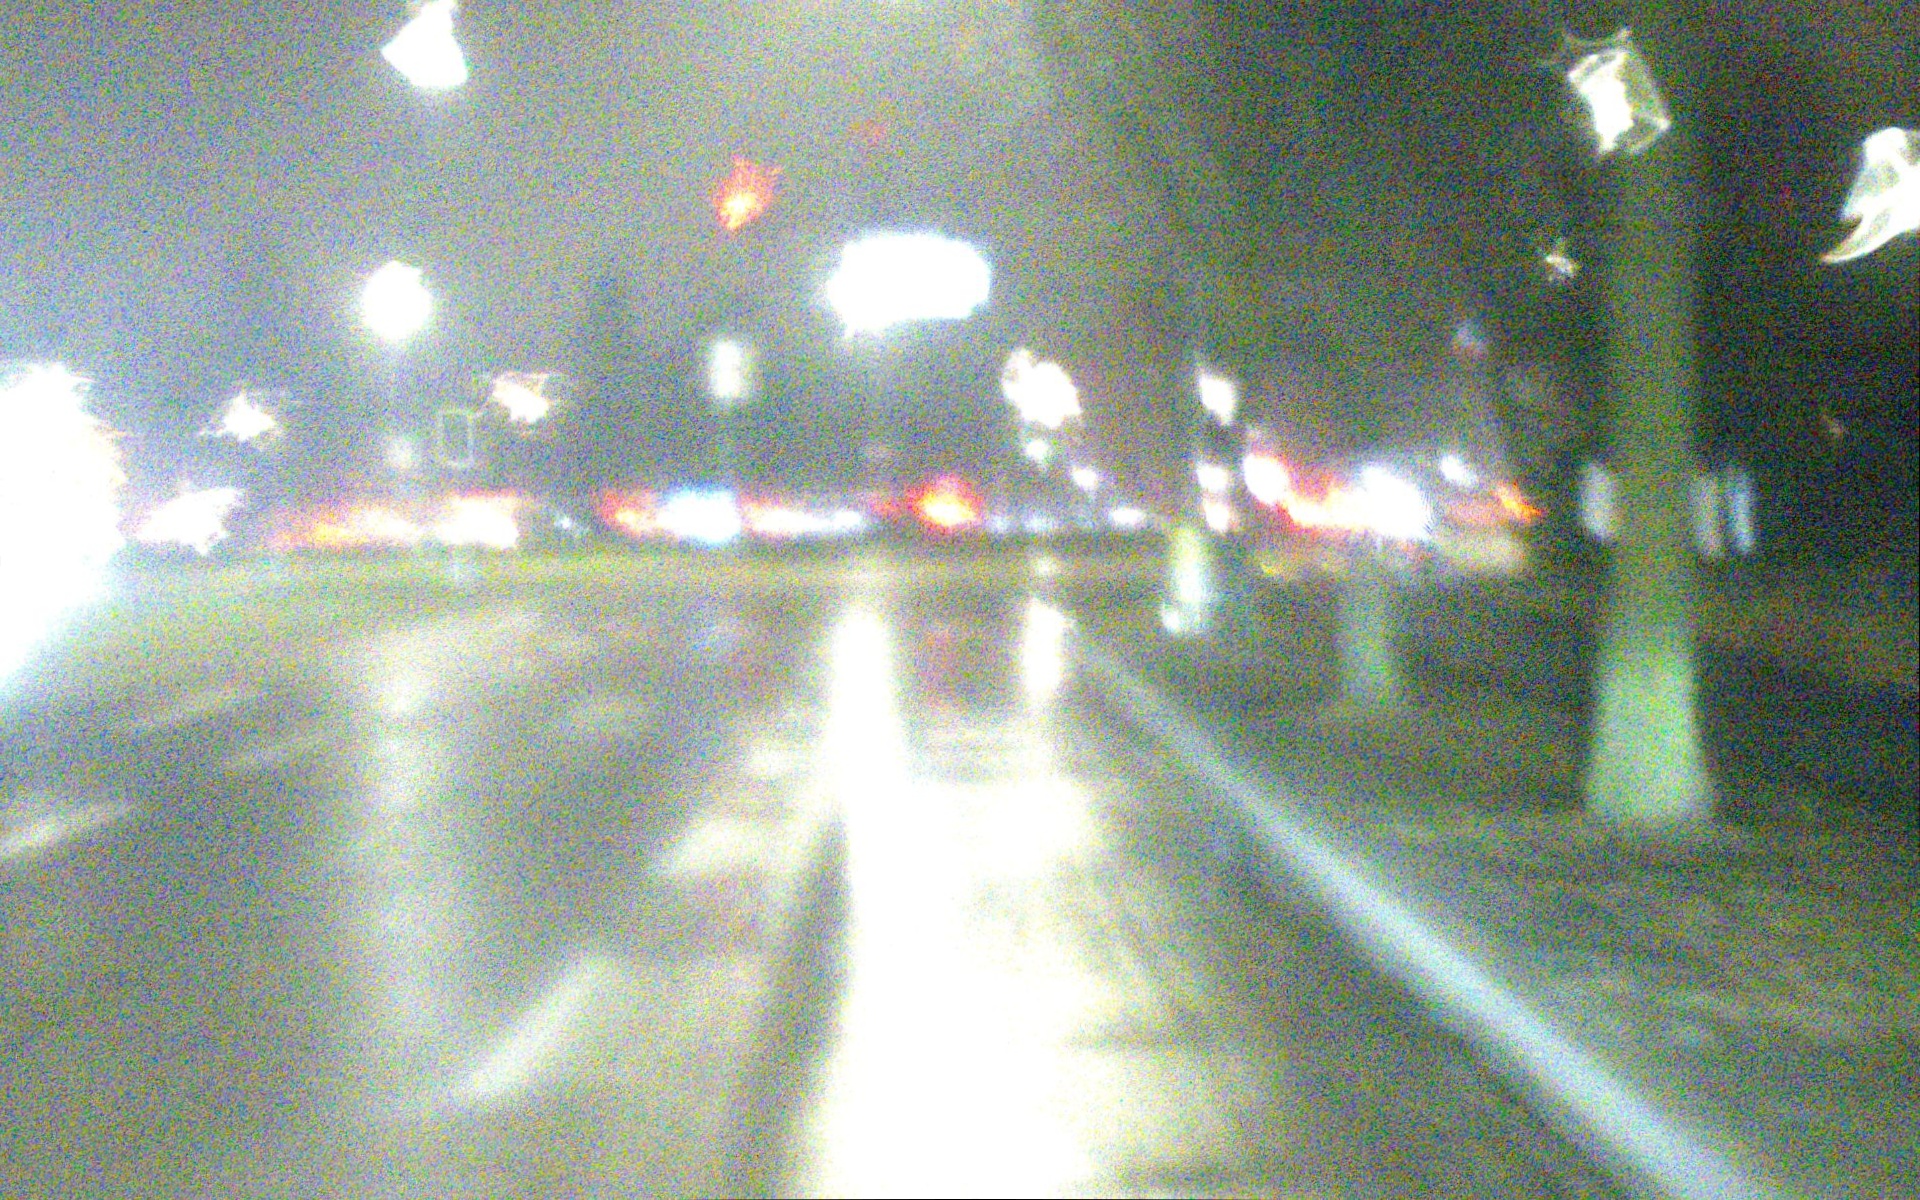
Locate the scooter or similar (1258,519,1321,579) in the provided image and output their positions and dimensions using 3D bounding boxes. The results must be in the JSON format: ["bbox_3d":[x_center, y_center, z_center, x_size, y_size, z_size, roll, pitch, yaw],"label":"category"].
[{"bbox_3d":[6.117,-0.939,63.827,1.102,1.094,0.317,-1,0,28],"label":"scooter or similar"}]

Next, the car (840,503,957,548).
[{"bbox_3d":[-2.307,-2.784,128.895,3.992,1.610,1.834,2,2,26],"label":"car"}]

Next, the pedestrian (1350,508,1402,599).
[{"bbox_3d":[6.890,-0.778,56.954,0.726,1.480,0.836,1,1,-1],"label":"pedestrian"}]

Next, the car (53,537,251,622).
[{"bbox_3d":[-19.939,-0.511,84.775,4.541,2.007,2.001,0,2,-19],"label":"car"}]

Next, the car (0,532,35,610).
[{"bbox_3d":[-19.343,-0.573,66.411,1.829,1.459,4.660,1,2,-2],"label":"car"}]

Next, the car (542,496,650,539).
[{"bbox_3d":[-13.802,-3.143,130.615,3.951,1.573,1.737,1,1,-2],"label":"car"}]

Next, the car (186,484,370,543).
[{"bbox_3d":[-25.487,-3.229,128.510,6.292,2.082,2.516,0,2,-25],"label":"car"}]

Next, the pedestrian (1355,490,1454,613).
[{"bbox_3d":[6.568,-0.728,50.864,1.227,1.787,1.490,1,1,-1],"label":"pedestrian"}]

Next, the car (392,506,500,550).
[{"bbox_3d":[-19.520,-2.758,130.755,3.986,1.610,1.837,1,2,-7],"label":"car"}]
